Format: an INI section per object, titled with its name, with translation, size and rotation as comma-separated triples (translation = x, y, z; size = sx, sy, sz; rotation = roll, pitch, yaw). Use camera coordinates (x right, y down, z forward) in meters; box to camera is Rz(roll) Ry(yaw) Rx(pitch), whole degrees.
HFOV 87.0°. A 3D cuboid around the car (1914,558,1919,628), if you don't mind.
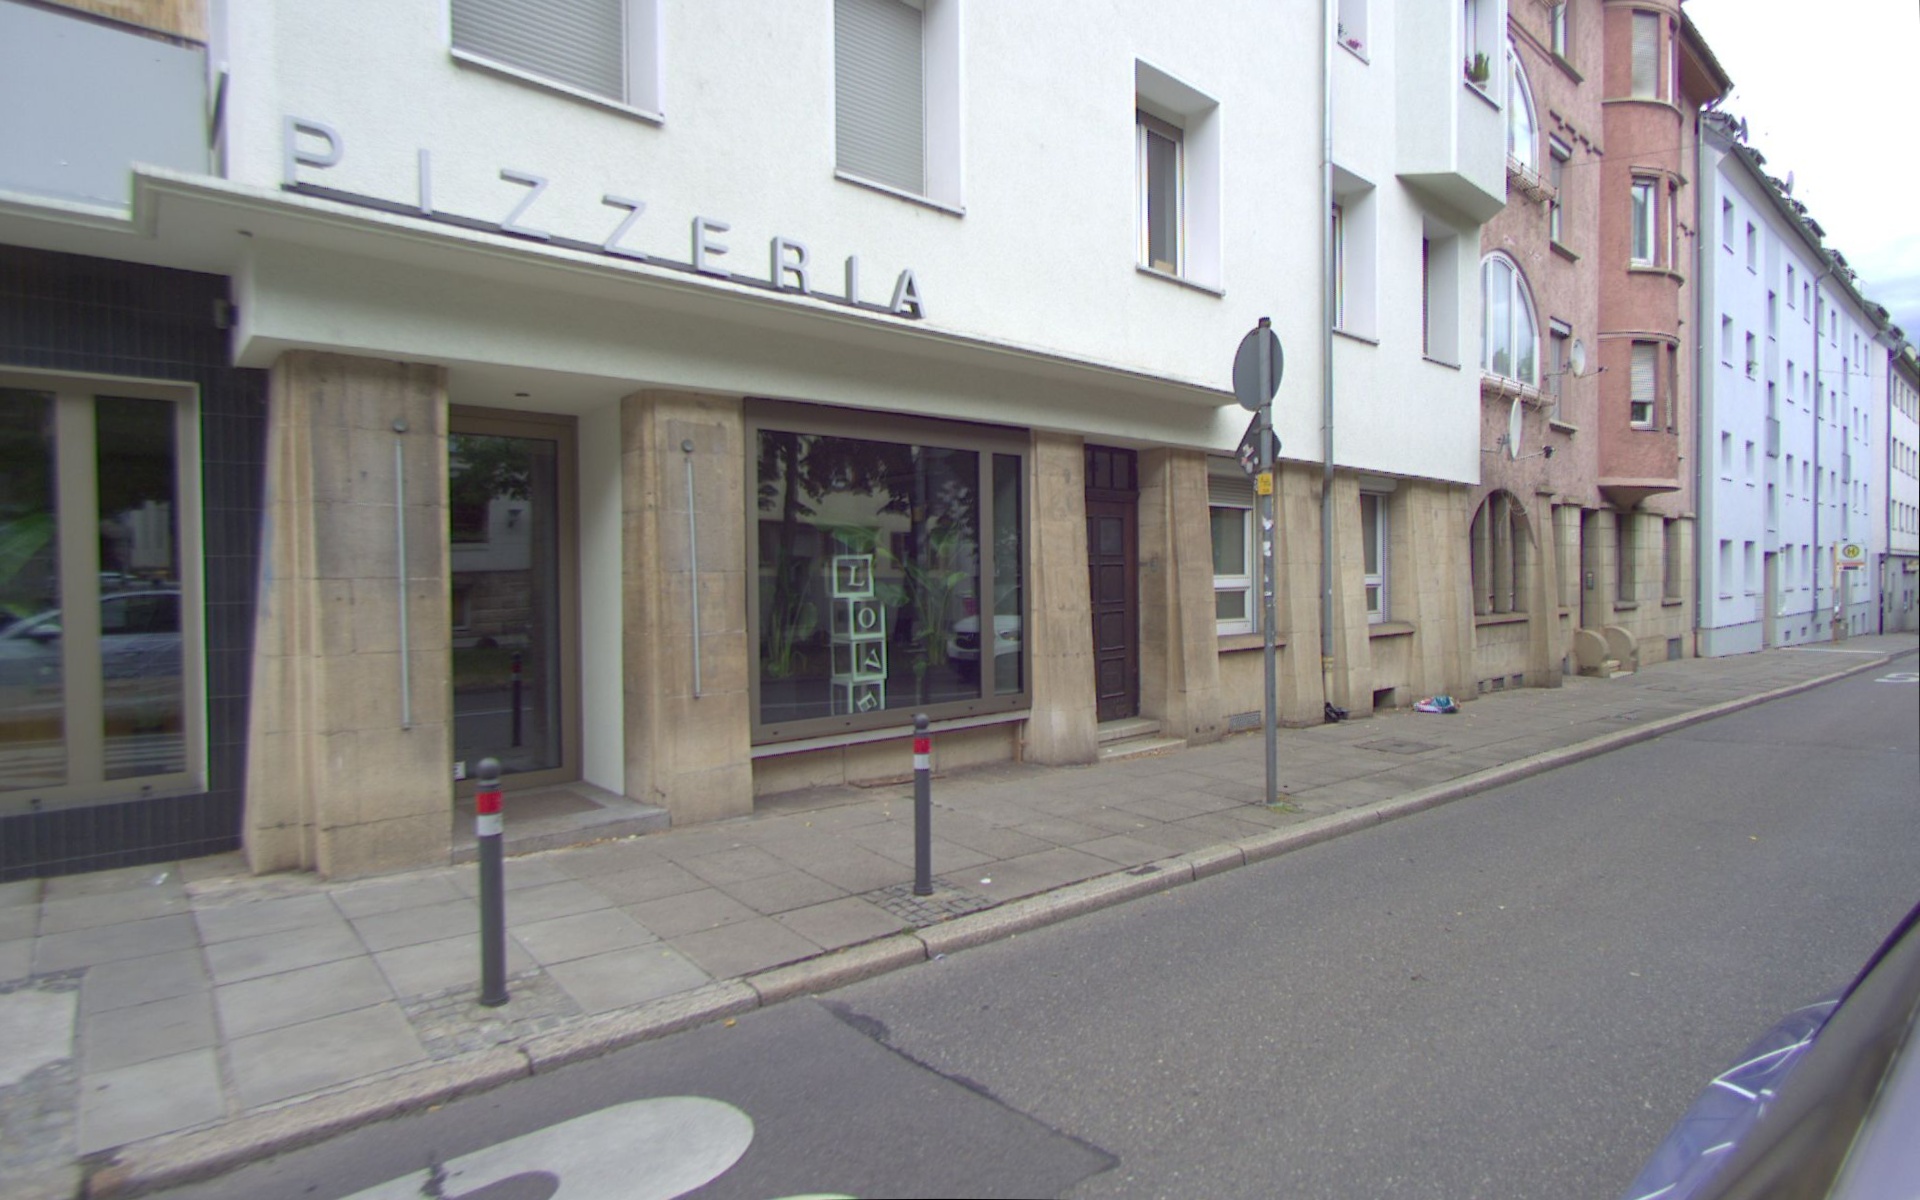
[car]
translation = 45.678, -0.328, 45.864
size = 7.047, 3.100, 3.022
rotation = -1, 2, -43
